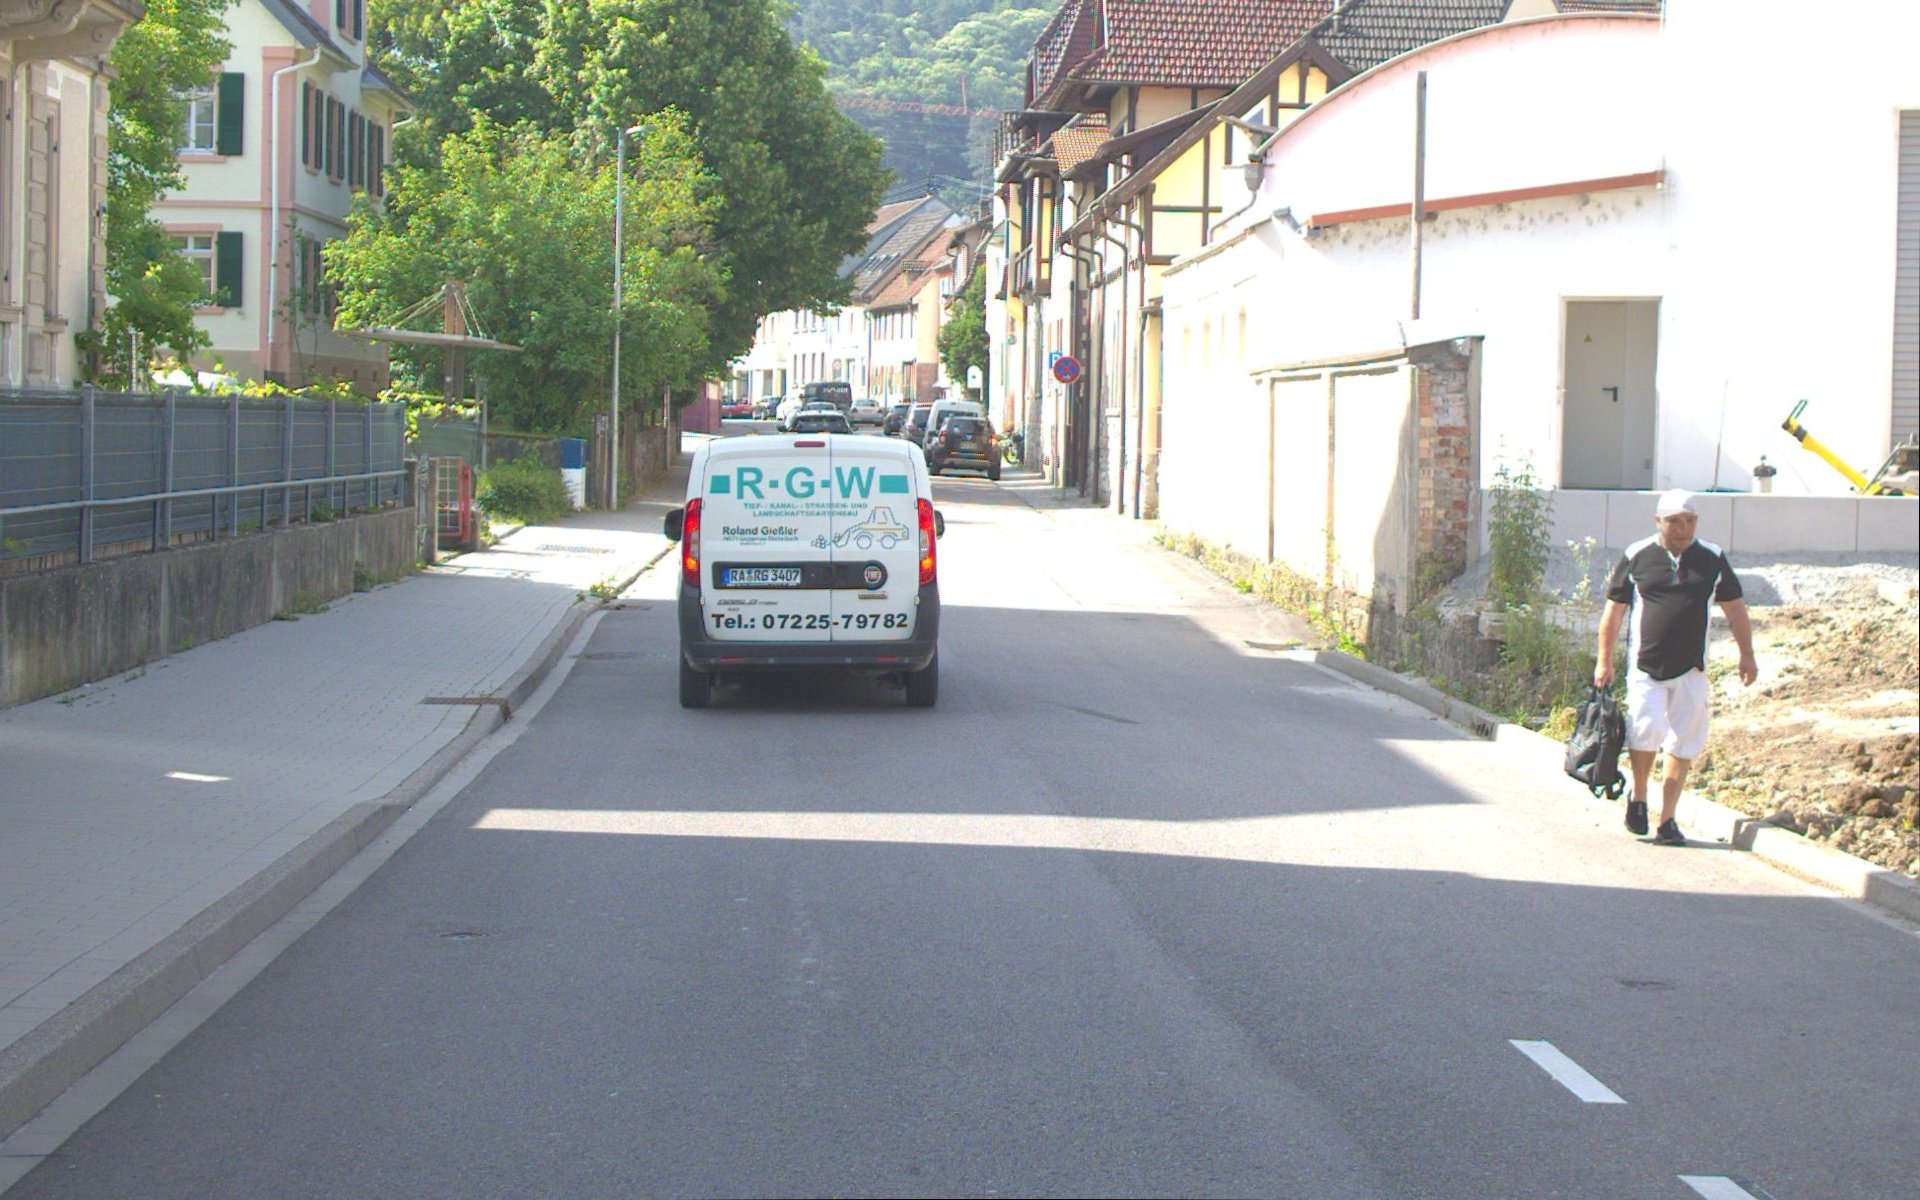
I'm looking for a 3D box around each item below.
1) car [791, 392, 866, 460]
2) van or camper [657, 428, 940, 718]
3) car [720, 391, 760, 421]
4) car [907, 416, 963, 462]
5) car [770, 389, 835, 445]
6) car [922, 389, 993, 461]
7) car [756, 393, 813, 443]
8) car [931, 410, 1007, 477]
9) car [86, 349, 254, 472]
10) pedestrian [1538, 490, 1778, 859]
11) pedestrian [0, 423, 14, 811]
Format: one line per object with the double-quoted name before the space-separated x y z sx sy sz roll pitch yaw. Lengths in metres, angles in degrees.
"car" -3.413 -4.523 89.125 1.810 1.591 3.928 3 4 -3
"van or camper" -1.162 -0.280 24.536 1.828 1.838 4.189 -1 3 -3
"car" -13.515 -11.940 211.347 1.771 1.792 4.002 1 3 -13
"car" -0.884 -5.534 117.834 1.669 1.502 4.001 0 3 -4
"car" -5.000 -5.796 108.757 1.810 1.591 3.928 3 4 -5
"car" -0.106 -5.175 101.449 1.871 2.006 4.001 2 3 -3
"car" -10.138 -10.506 198.140 2.874 2.825 6.126 0 3 -7
"car" 0.224 -4.173 91.318 1.810 1.591 3.928 3 4 -2
"car" -12.818 -3.106 56.029 1.822 1.766 4.684 4 3 -4
"pedestrian" 3.315 0.339 16.388 0.888 1.677 0.718 3 2 -2
"pedestrian" -4.467 0.072 14.074 0.958 1.625 0.758 2 2 -2
